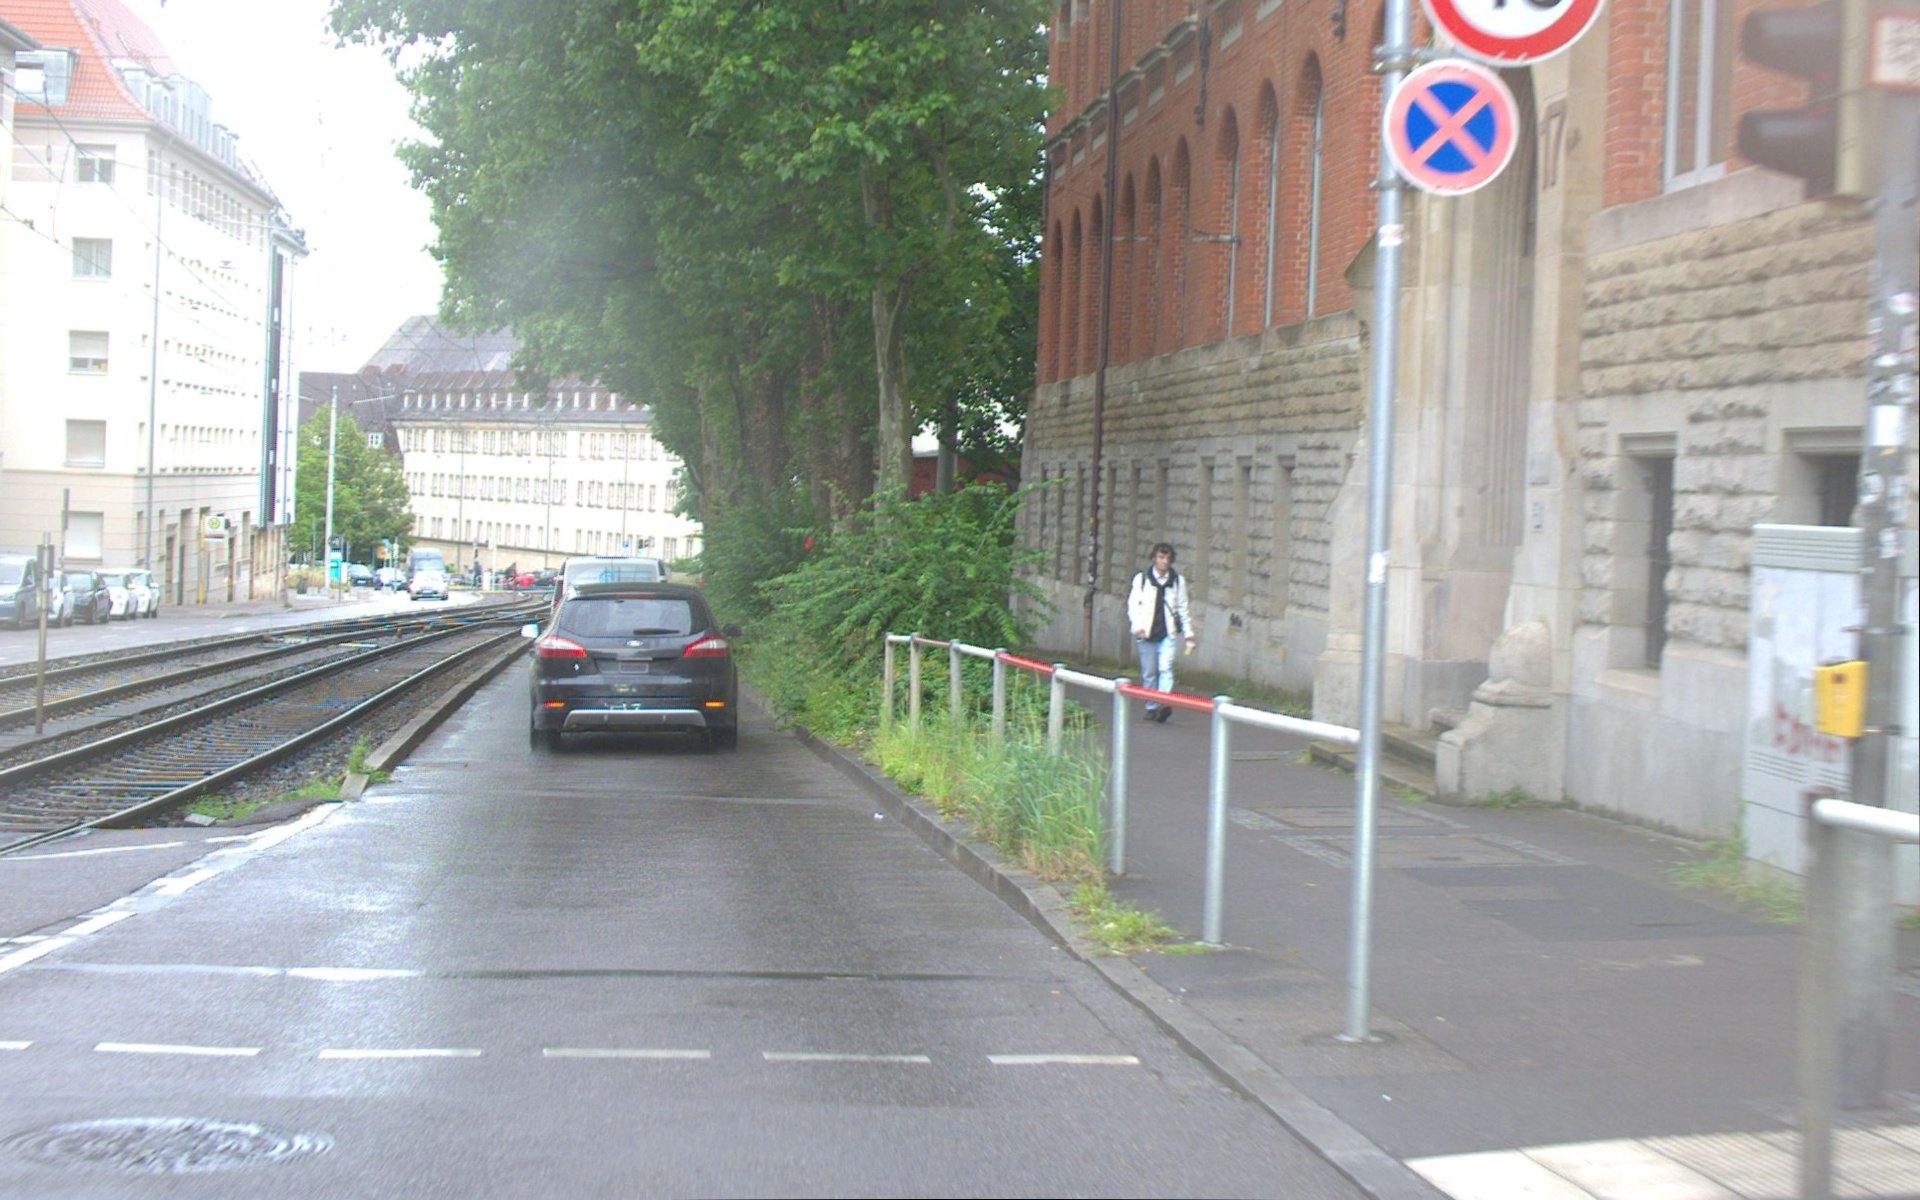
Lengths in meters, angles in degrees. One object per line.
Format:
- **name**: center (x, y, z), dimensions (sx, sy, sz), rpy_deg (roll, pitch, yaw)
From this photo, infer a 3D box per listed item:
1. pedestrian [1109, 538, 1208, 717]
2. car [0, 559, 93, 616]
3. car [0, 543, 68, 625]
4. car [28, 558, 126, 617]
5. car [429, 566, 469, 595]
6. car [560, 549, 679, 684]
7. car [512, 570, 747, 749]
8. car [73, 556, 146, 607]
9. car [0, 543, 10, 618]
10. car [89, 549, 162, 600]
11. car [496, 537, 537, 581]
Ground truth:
- **pedestrian**: center (1.896, 0.262, 32.938), dimensions (0.823, 1.673, 0.860), rpy_deg (1, 0, -2)
- **car**: center (-23.603, -0.329, 88.924), dimensions (1.691, 1.434, 4.050), rpy_deg (0, 0, -5)
- **car**: center (-23.374, -0.427, 83.588), dimensions (1.993, 1.898, 5.460), rpy_deg (3, 0, -1)
- **car**: center (-23.961, -0.356, 93.409), dimensions (1.813, 1.494, 4.583), rpy_deg (3, 0, -5)
- **car**: center (-26.354, -1.007, 177.546), dimensions (1.711, 1.457, 4.281), rpy_deg (1, 0, -4)
- **car**: center (-5.376, 0.246, 53.952), dimensions (1.740, 2.007, 3.904), rpy_deg (1, 0, -7)
- **car**: center (-2.966, 0.506, 31.267), dimensions (1.933, 1.448, 4.318), rpy_deg (2, 0, -4)
- **car**: center (-25.133, -0.553, 101.682), dimensions (1.703, 1.392, 3.937), rpy_deg (2, 1, -9)
- **car**: center (-22.936, -0.462, 77.892), dimensions (1.867, 1.711, 4.461), rpy_deg (1, 0, -5)
- **car**: center (-25.727, -0.778, 106.080), dimensions (1.708, 1.445, 3.542), rpy_deg (3, 0, -7)
- **car**: center (-25.823, -2.374, 200.322), dimensions (1.993, 2.443, 5.999), rpy_deg (1, -1, -4)
